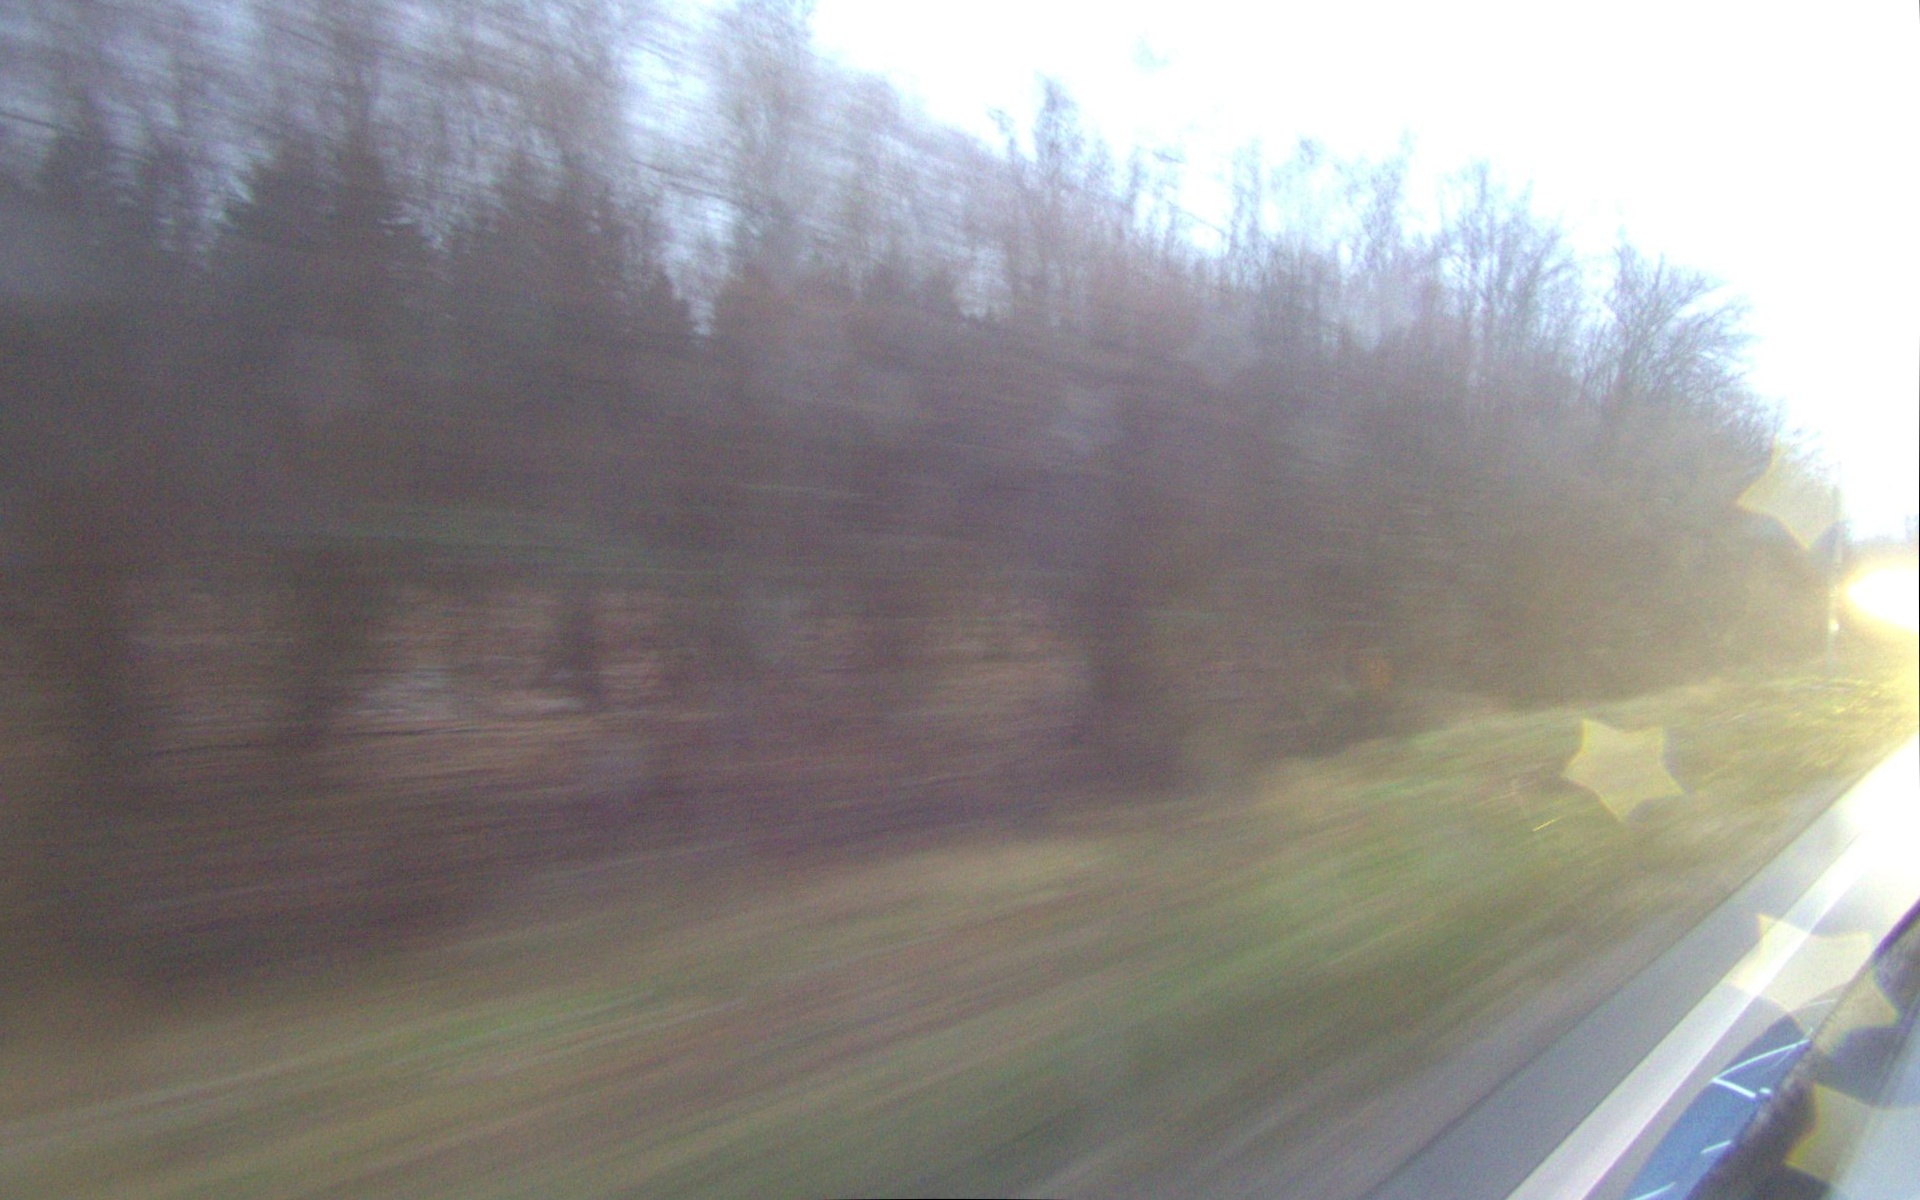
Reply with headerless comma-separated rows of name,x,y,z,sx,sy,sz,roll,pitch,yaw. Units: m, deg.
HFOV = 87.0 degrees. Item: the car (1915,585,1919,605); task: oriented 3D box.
car,91.215,-0.454,95.155,1.694,1.752,3.945,0,2,38
